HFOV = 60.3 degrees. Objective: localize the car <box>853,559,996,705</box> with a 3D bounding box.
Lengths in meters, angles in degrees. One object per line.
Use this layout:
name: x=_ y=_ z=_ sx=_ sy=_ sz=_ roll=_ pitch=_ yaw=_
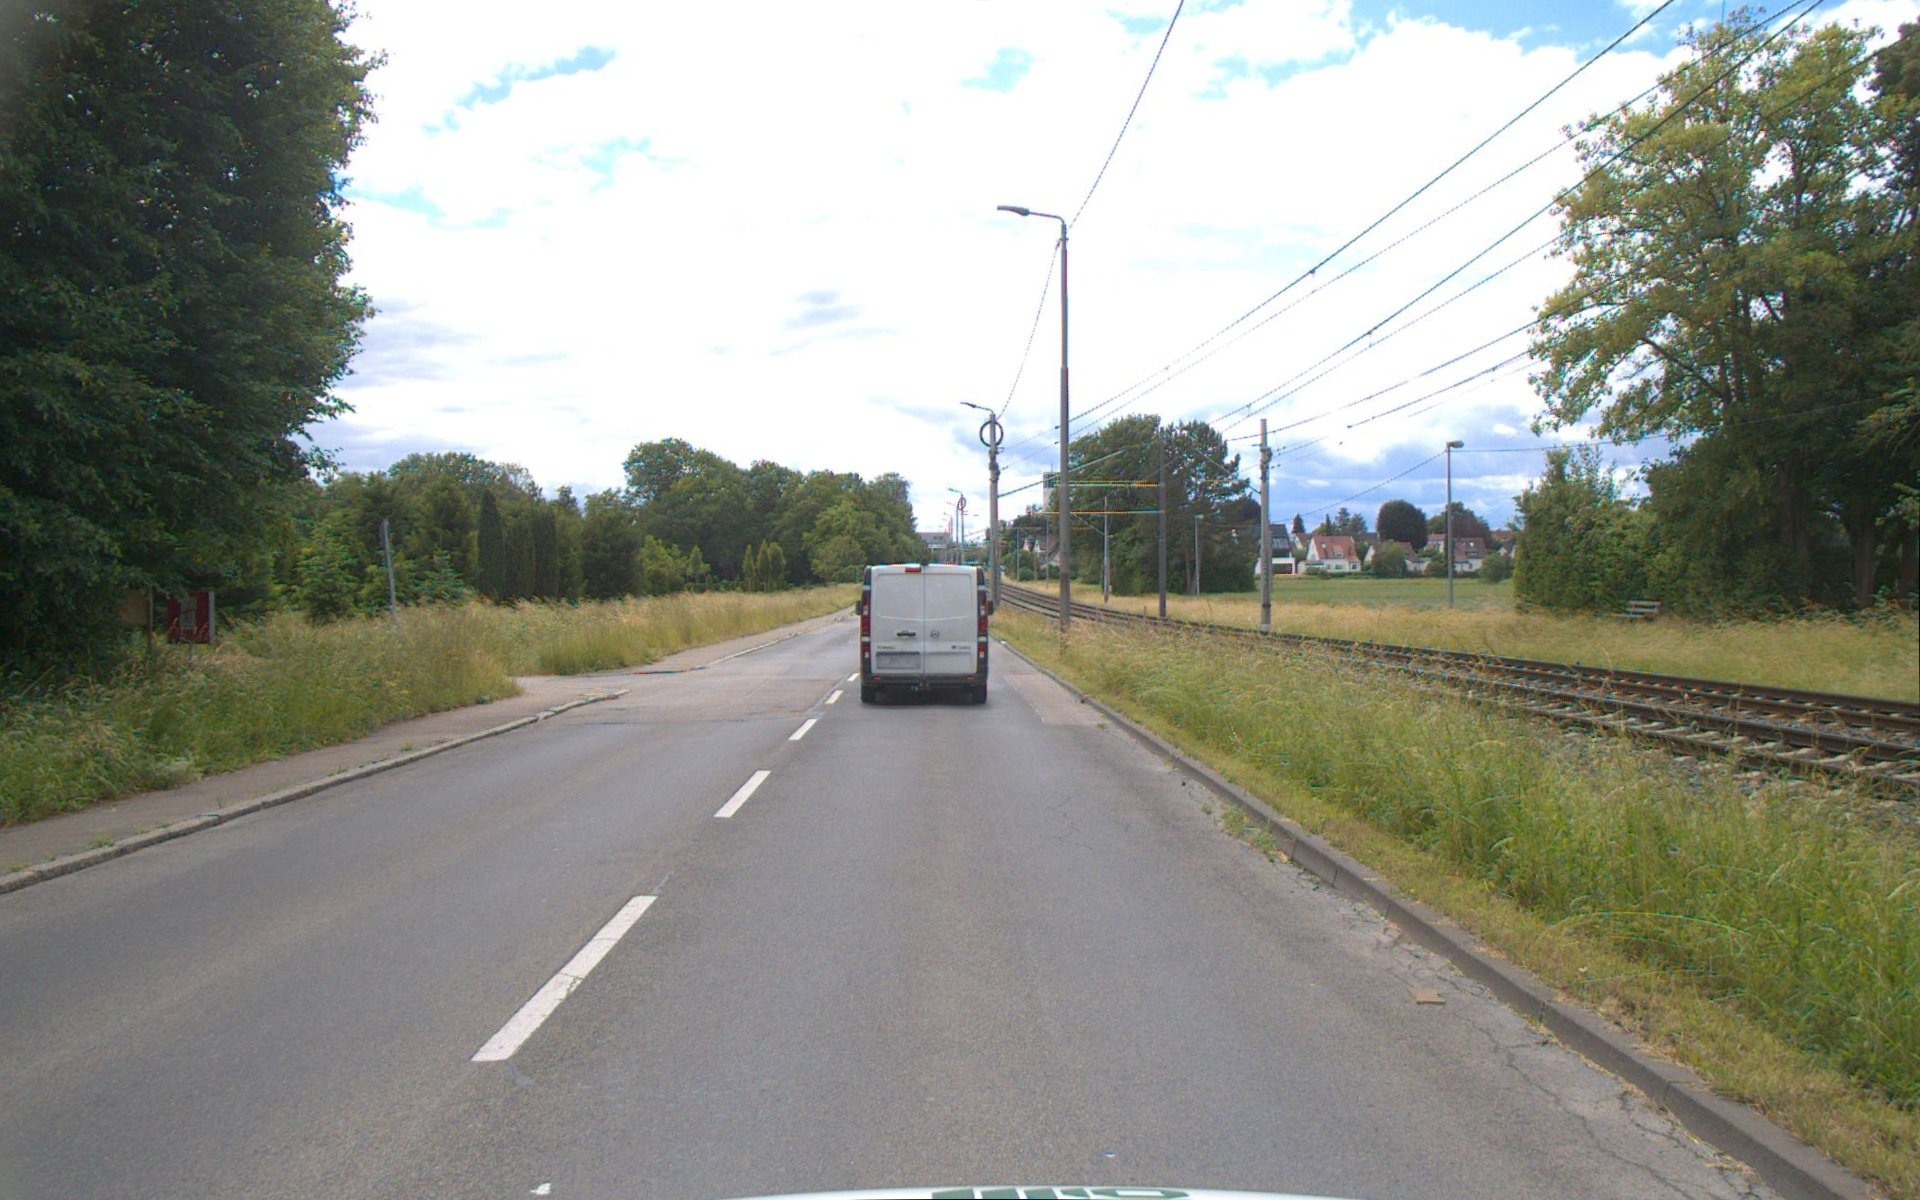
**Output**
car: x=-0.559 y=0.444 z=24.718 sx=1.953 sy=1.991 sz=3.998 roll=0 pitch=0 yaw=-2
